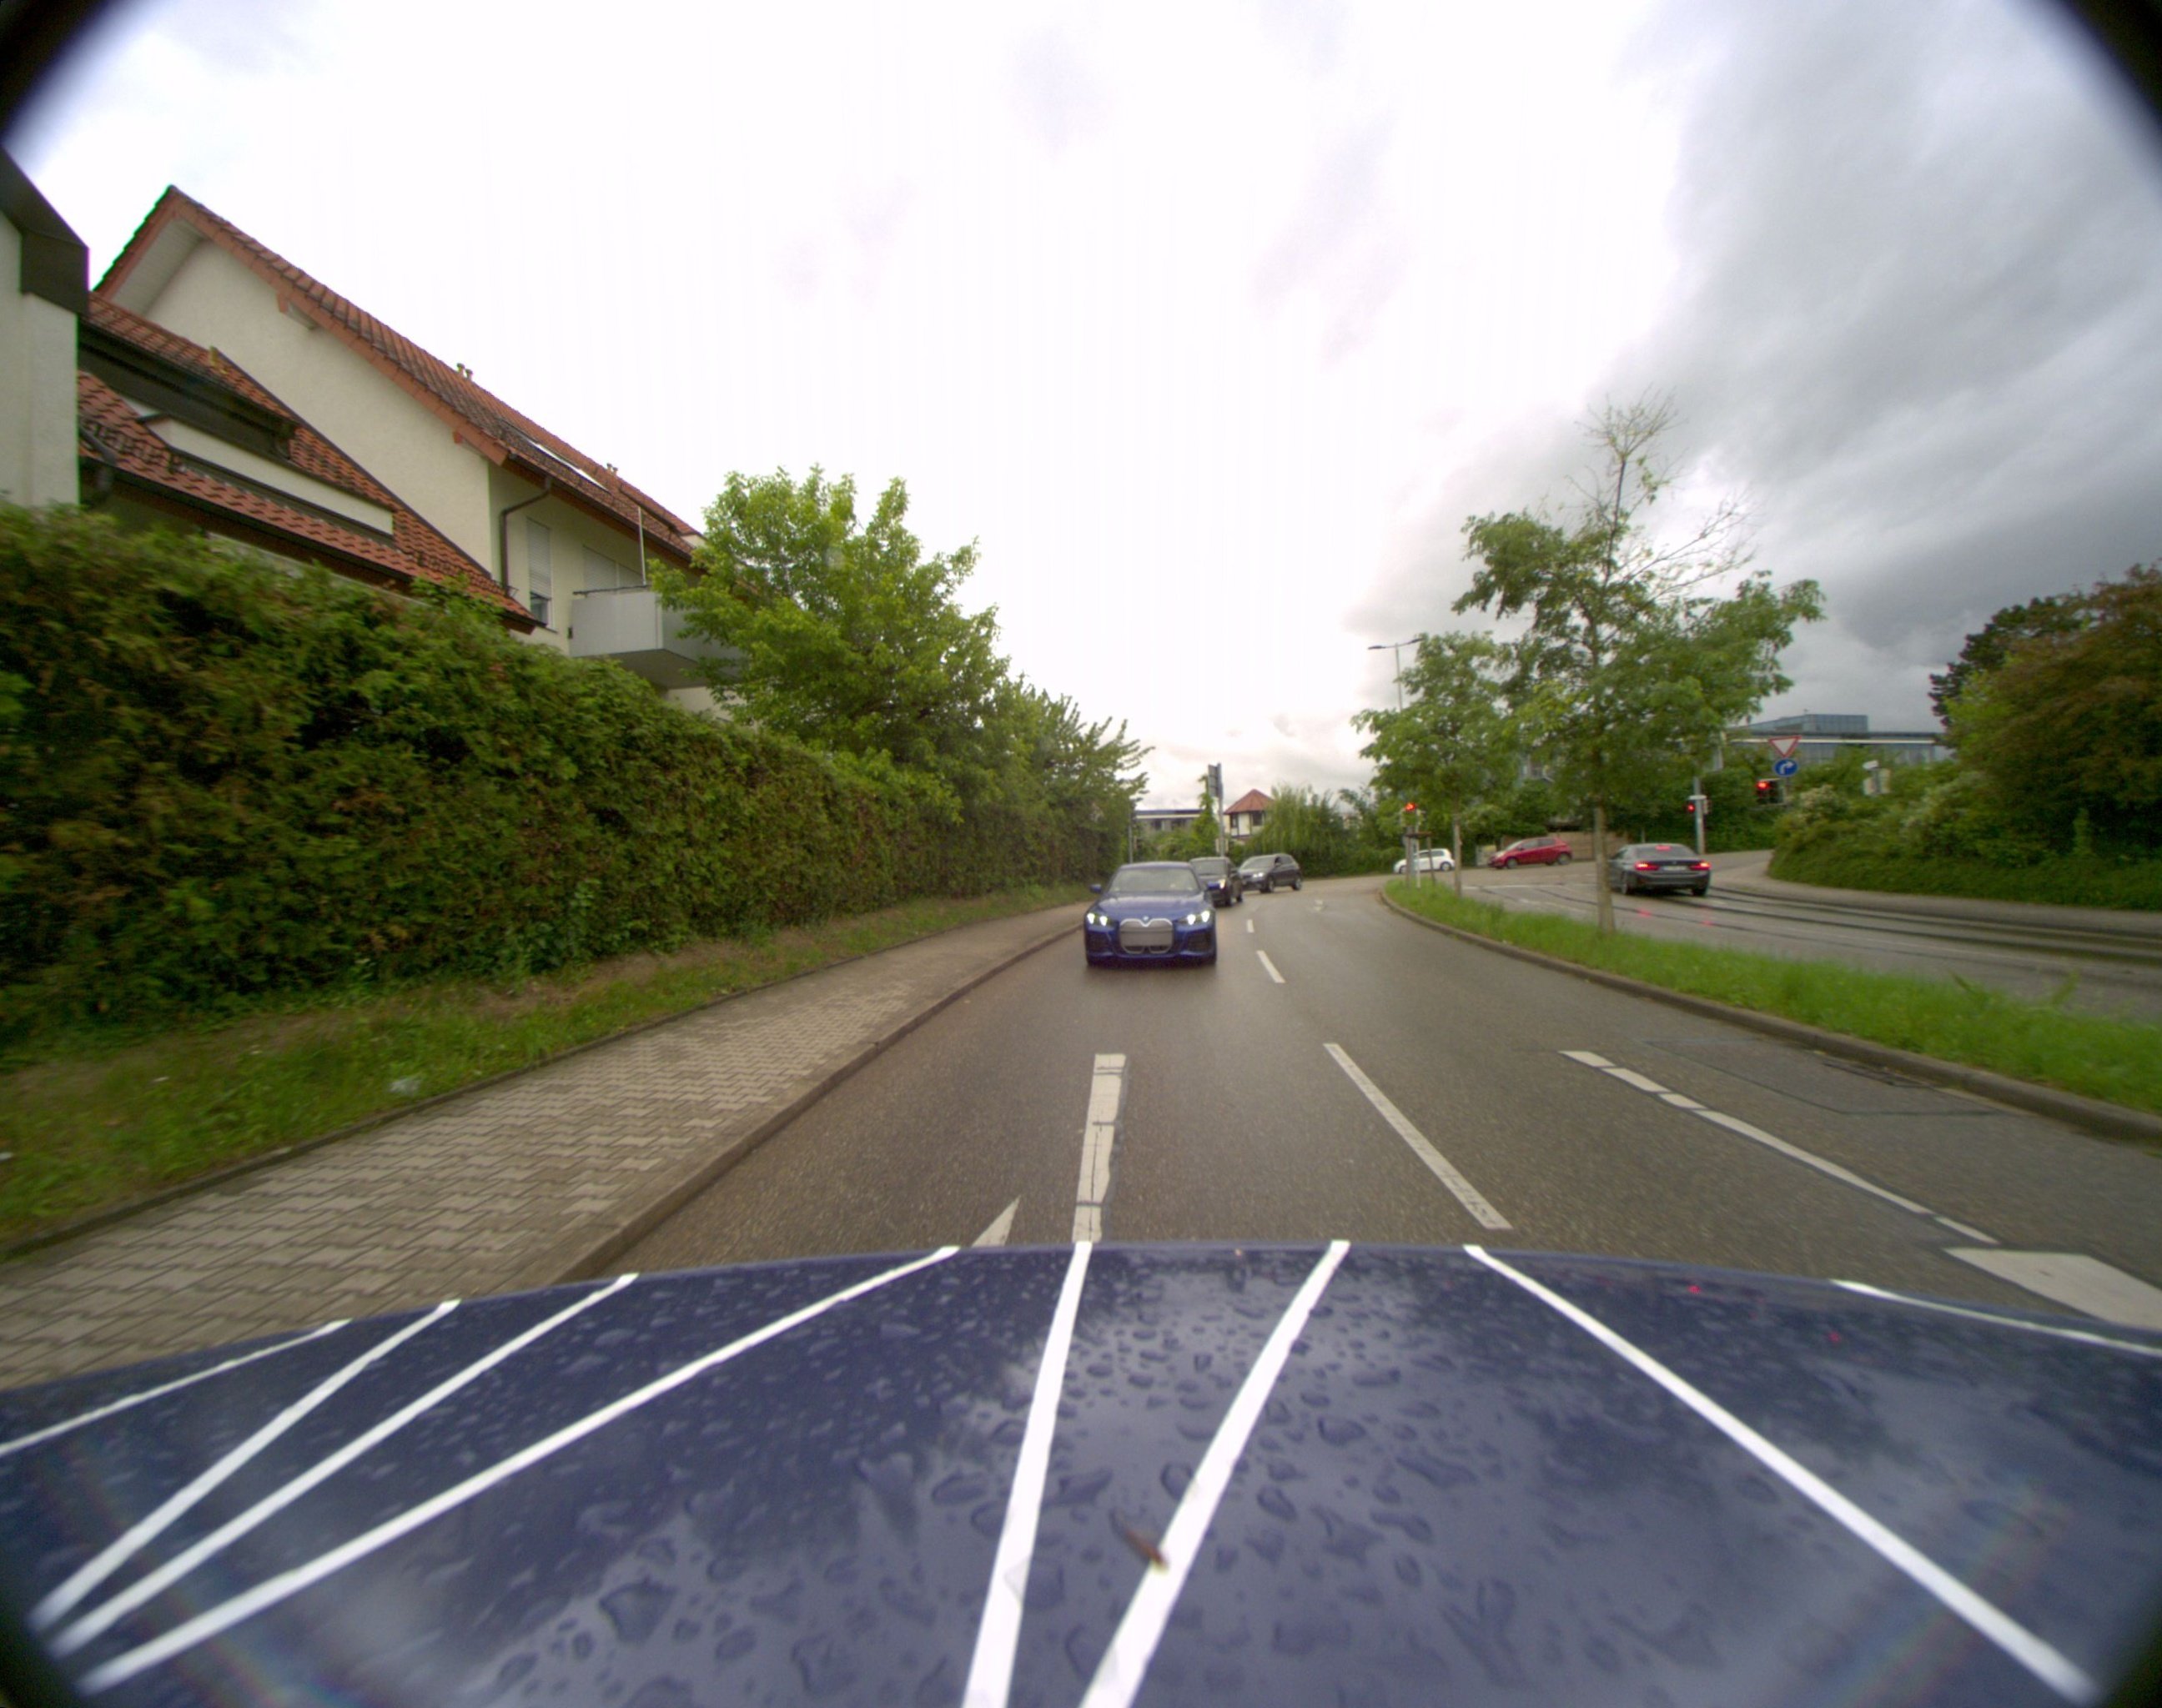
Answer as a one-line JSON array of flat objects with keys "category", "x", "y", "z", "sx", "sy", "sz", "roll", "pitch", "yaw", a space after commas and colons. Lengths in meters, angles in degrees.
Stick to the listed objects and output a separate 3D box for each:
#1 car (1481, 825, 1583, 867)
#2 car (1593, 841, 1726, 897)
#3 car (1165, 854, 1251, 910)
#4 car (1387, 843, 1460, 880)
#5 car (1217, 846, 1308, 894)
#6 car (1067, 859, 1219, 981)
[{"category": "car", "x": 23.278, "y": -0.377, "z": 39.338, "sx": 3.994, "sy": 1.715, "sz": 1.871, "roll": -5, "pitch": -2, "yaw": 10}, {"category": "car", "x": 16.503, "y": 0.412, "z": 21.945, "sx": 1.995, "sy": 1.429, "sz": 4.556, "roll": -2, "pitch": -1, "yaw": 23}, {"category": "car", "x": 4.086, "y": 0.839, "z": 23.878, "sx": 1.744, "sy": 1.509, "sz": 4.007, "roll": -6, "pitch": -2, "yaw": 21}, {"category": "car", "x": 21.982, "y": 0.505, "z": 48.753, "sx": 3.991, "sy": 2.001, "sz": 2.004, "roll": -6, "pitch": -2, "yaw": 26}, {"category": "car", "x": 7.829, "y": 0.666, "z": 32.525, "sx": 1.964, "sy": 1.739, "sz": 4.316, "roll": -7, "pitch": -3, "yaw": 39}, {"category": "car", "x": 1.139, "y": 0.885, "z": 11.997, "sx": 1.912, "sy": 1.487, "sz": 4.352, "roll": -2, "pitch": 0, "yaw": 9}]
